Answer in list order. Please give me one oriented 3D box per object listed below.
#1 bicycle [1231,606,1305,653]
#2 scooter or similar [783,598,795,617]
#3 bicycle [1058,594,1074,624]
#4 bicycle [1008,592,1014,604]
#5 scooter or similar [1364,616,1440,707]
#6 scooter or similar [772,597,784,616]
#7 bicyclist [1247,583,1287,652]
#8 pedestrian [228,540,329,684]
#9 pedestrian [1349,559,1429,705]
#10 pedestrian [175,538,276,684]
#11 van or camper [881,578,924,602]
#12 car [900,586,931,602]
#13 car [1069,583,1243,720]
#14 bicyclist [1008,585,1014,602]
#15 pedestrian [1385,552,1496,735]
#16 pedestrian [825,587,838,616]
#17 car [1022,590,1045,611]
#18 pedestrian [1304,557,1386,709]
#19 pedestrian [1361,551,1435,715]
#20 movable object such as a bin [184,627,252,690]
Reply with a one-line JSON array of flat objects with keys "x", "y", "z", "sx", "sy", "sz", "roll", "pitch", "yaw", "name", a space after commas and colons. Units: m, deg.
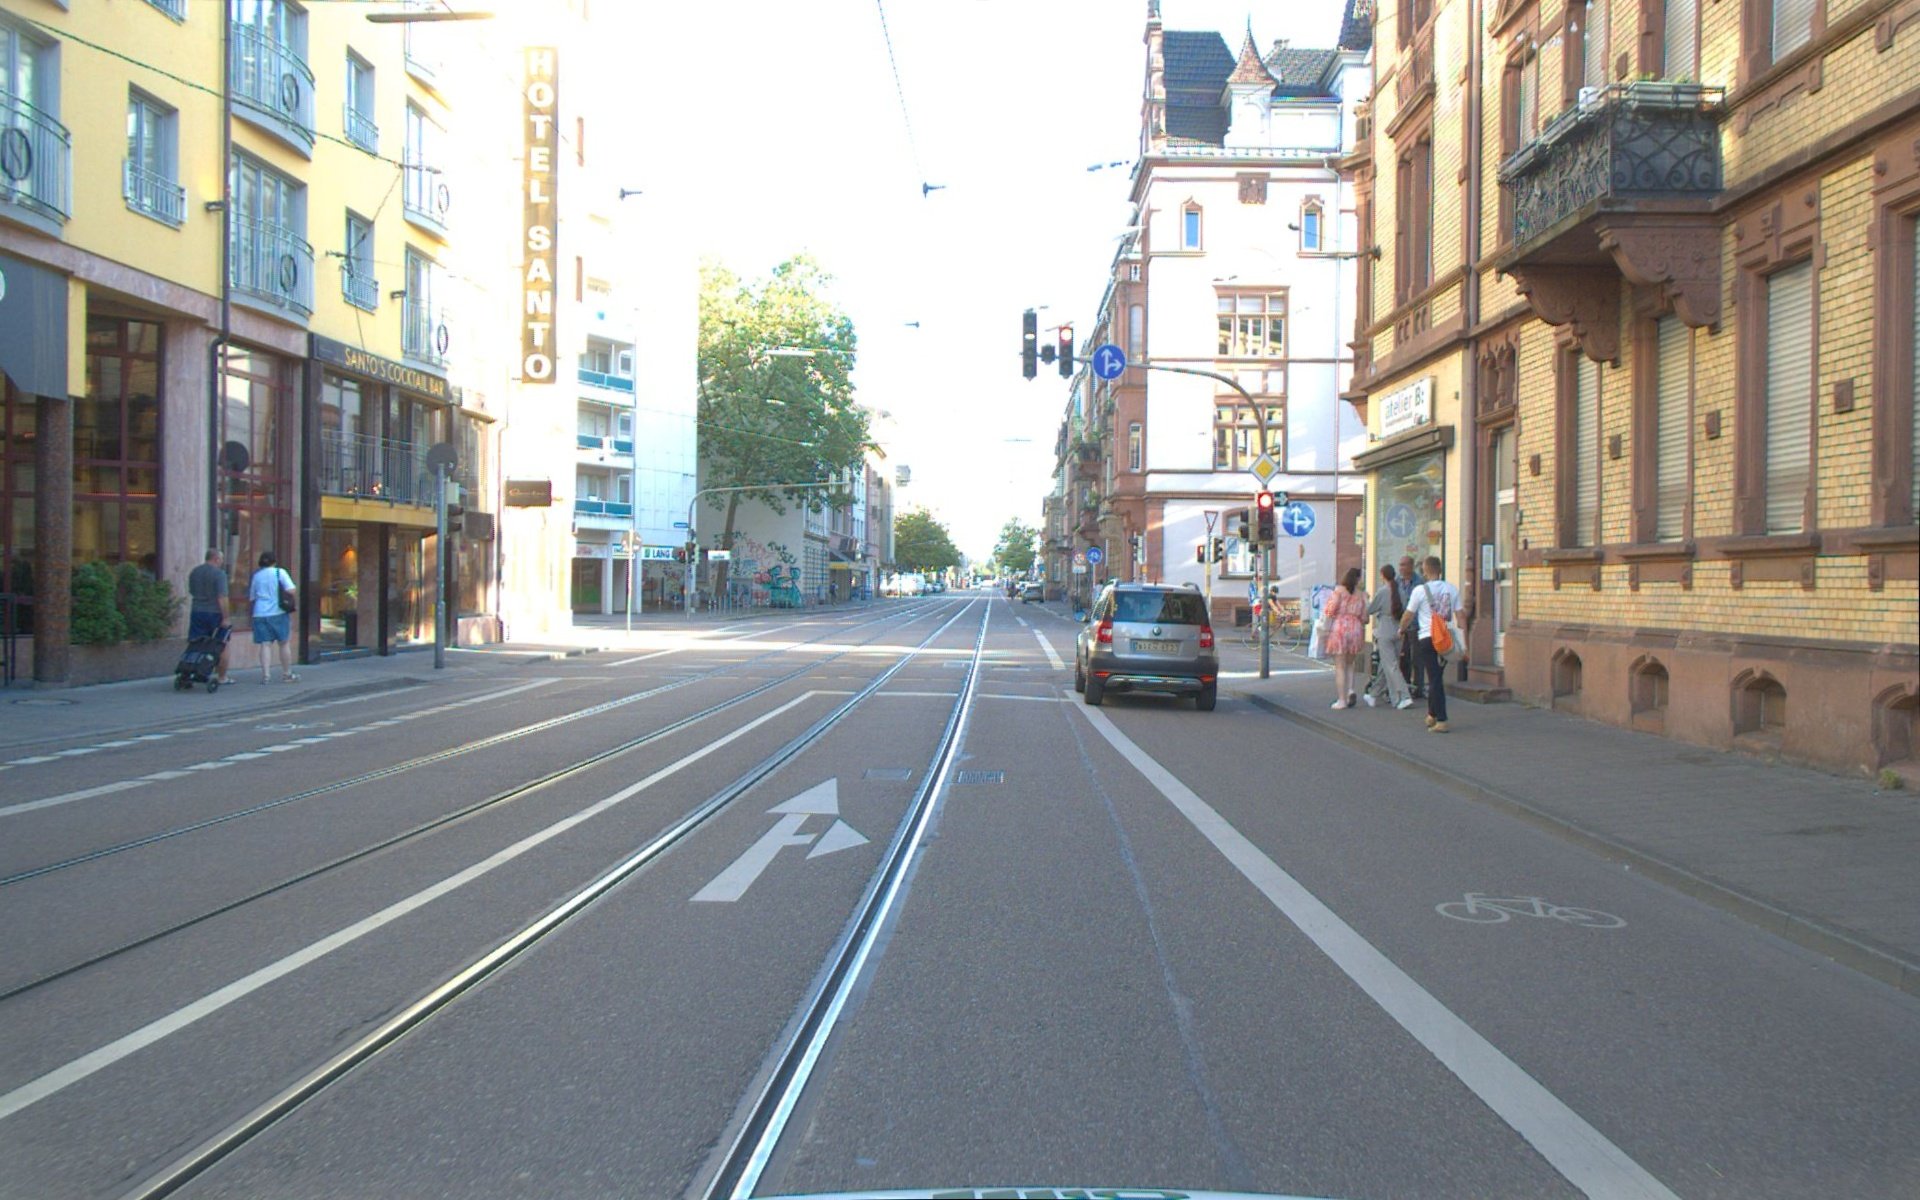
[{"x": 7.735, "y": 0.740, "z": 41.563, "sx": 1.684, "sy": 1.052, "sz": 0.597, "roll": 4, "pitch": -2, "yaw": 32, "name": "bicycle"}, {"x": -9.947, "y": 0.412, "z": 96.456, "sx": 0.506, "sy": 1.076, "sz": 1.478, "roll": 2, "pitch": 0, "yaw": -1, "name": "scooter or similar"}, {"x": 4.848, "y": 0.415, "z": 75.573, "sx": 0.639, "sy": 1.347, "sz": 2.177, "roll": 2, "pitch": 0, "yaw": 4, "name": "bicycle"}, {"x": 4.927, "y": -0.184, "z": 160.113, "sx": 0.563, "sy": 1.048, "sz": 1.895, "roll": 2, "pitch": 0, "yaw": 3, "name": "bicycle"}, {"x": 5.526, "y": 0.765, "z": 20.709, "sx": 0.788, "sy": 1.089, "sz": 0.521, "roll": -2, "pitch": -1, "yaw": 1, "name": "scooter or similar"}, {"x": -10.621, "y": 0.381, "z": 96.434, "sx": 0.506, "sy": 1.064, "sz": 1.478, "roll": 2, "pitch": 0, "yaw": -1, "name": "scooter or similar"}, {"x": 7.715, "y": 0.430, "z": 41.569, "sx": 0.727, "sy": 1.662, "sz": 0.606, "roll": 3, "pitch": -2, "yaw": 33, "name": "bicyclist"}, {"x": -9.359, "y": 0.158, "z": 22.748, "sx": 0.736, "sy": 1.849, "sz": 1.046, "roll": 7, "pitch": 0, "yaw": 1, "name": "pedestrian"}, {"x": 5.533, "y": 0.403, "z": 21.367, "sx": 0.789, "sy": 1.831, "sz": 0.762, "roll": -2, "pitch": 0, "yaw": 1, "name": "pedestrian"}, {"x": -9.643, "y": 0.145, "z": 21.739, "sx": 0.782, "sy": 1.801, "sz": 0.749, "roll": 7, "pitch": 0, "yaw": 1, "name": "pedestrian"}, {"x": -6.815, "y": -1.177, "z": 195.346, "sx": 4.585, "sy": 2.608, "sz": 1.980, "roll": 4, "pitch": -1, "yaw": -30, "name": "van or camper"}, {"x": -6.209, "y": -0.862, "z": 230.988, "sx": 3.934, "sy": 2.049, "sz": 1.986, "roll": 3, "pitch": -1, "yaw": -24, "name": "car"}, {"x": 2.655, "y": 0.668, "z": 23.289, "sx": 1.953, "sy": 1.646, "sz": 4.000, "roll": 3, "pitch": 0, "yaw": 1, "name": "car"}, {"x": 4.941, "y": -0.601, "z": 160.122, "sx": 0.563, "sy": 1.581, "sz": 0.595, "roll": 2, "pitch": -1, "yaw": 2, "name": "bicyclist"}, {"x": 4.988, "y": 0.436, "z": 17.227, "sx": 0.789, "sy": 1.831, "sz": 1.092, "roll": -2, "pitch": 0, "yaw": 0, "name": "pedestrian"}, {"x": -8.011, "y": 0.109, "z": 103.247, "sx": 0.686, "sy": 1.759, "sz": 0.648, "roll": 2, "pitch": -1, "yaw": 1, "name": "pedestrian"}, {"x": 6.421, "y": 0.041, "z": 145.073, "sx": 1.909, "sy": 1.713, "sz": 4.001, "roll": 2, "pitch": 0, "yaw": 2, "name": "car"}, {"x": 4.753, "y": 0.398, "z": 20.478, "sx": 0.789, "sy": 1.831, "sz": 0.761, "roll": -2, "pitch": 0, "yaw": 0, "name": "pedestrian"}, {"x": 5.311, "y": 0.392, "z": 20.093, "sx": 0.676, "sy": 1.942, "sz": 0.670, "roll": -2, "pitch": 0, "yaw": 0, "name": "pedestrian"}, {"x": -9.389, "y": 0.730, "z": 20.943, "sx": 0.375, "sy": 0.728, "sz": 0.841, "roll": 7, "pitch": 0, "yaw": 3, "name": "movable object such as a bin"}]
